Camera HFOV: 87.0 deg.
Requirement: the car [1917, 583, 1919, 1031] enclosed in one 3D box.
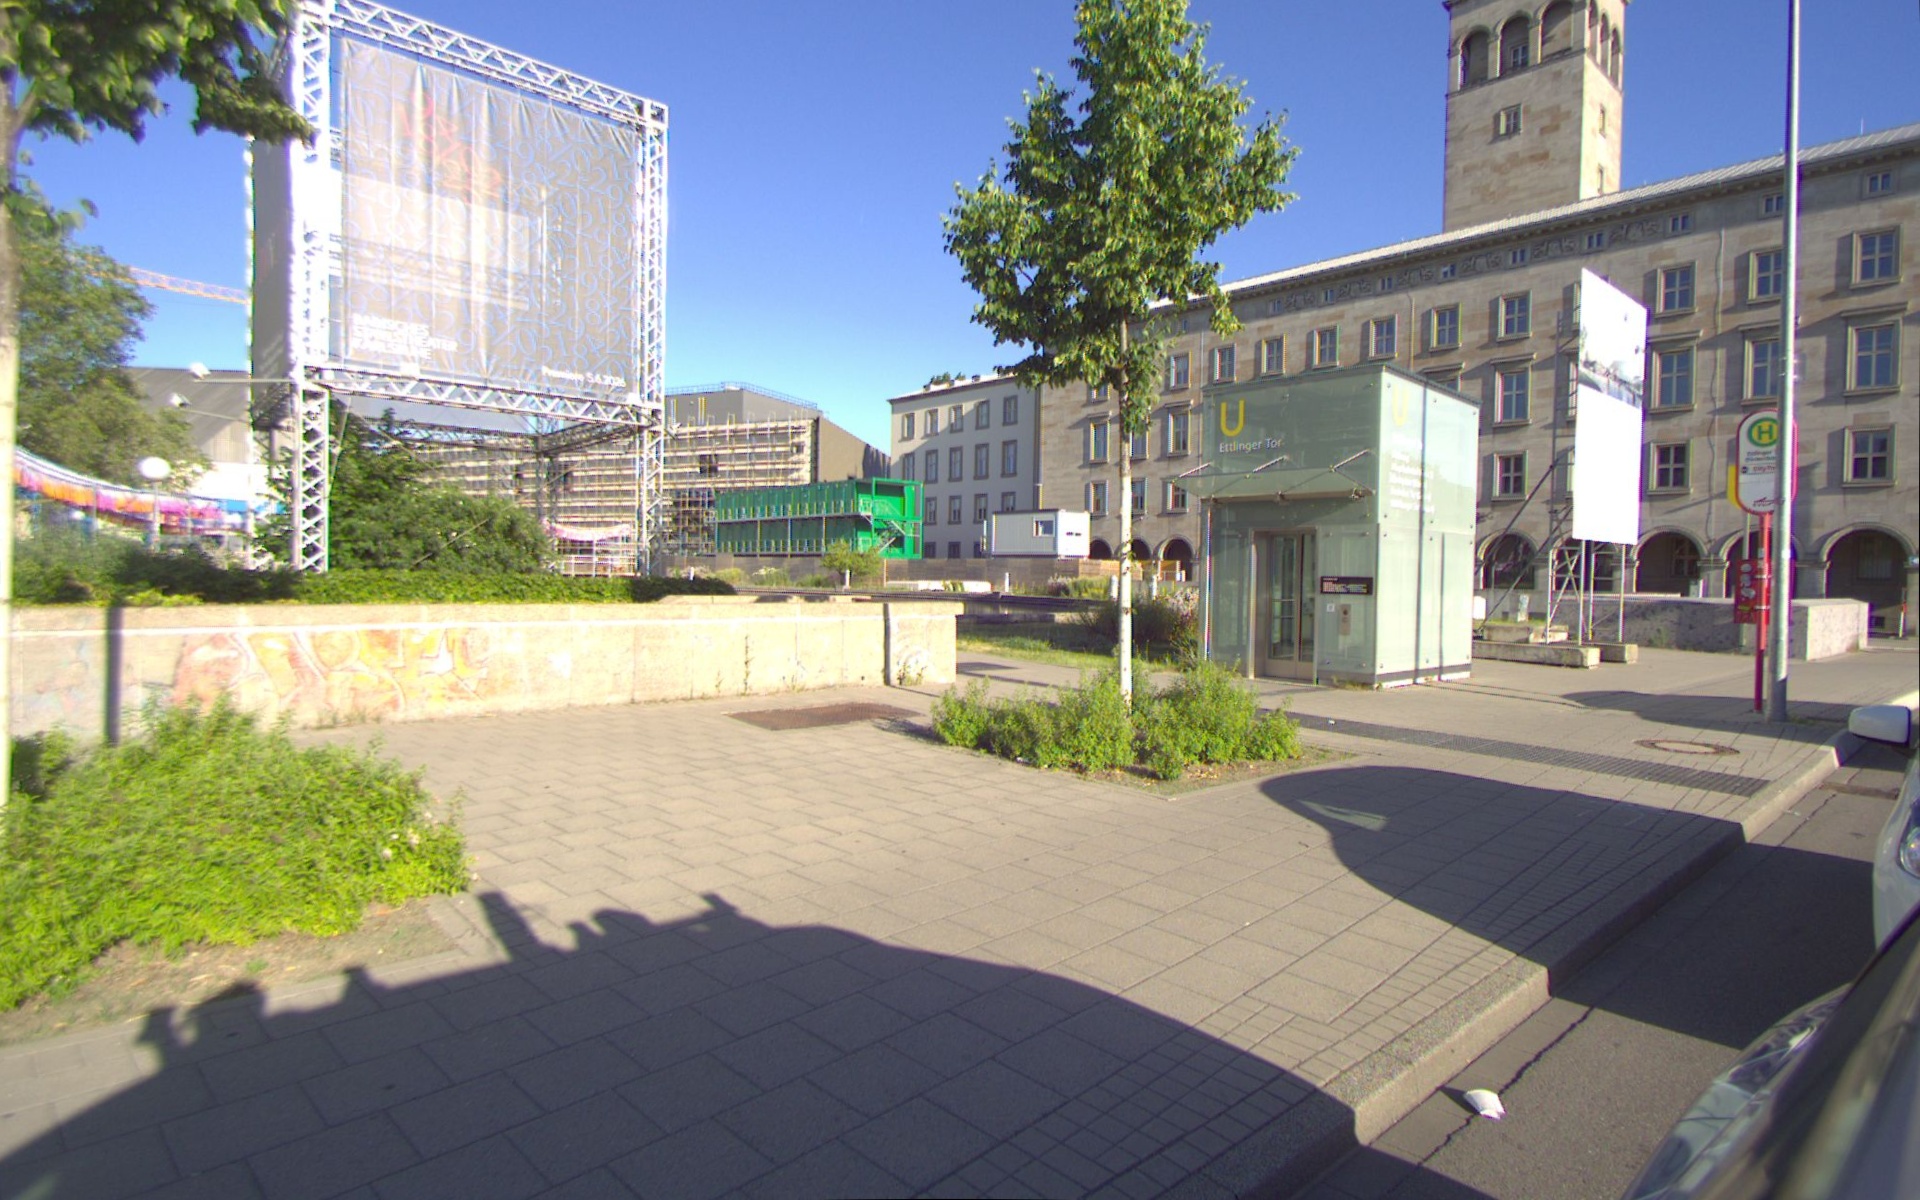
[{"bbox_3d":[5.044,0.707,3.998,3.541,1.504,1.495,0,0,-41],"label":"car"}]
